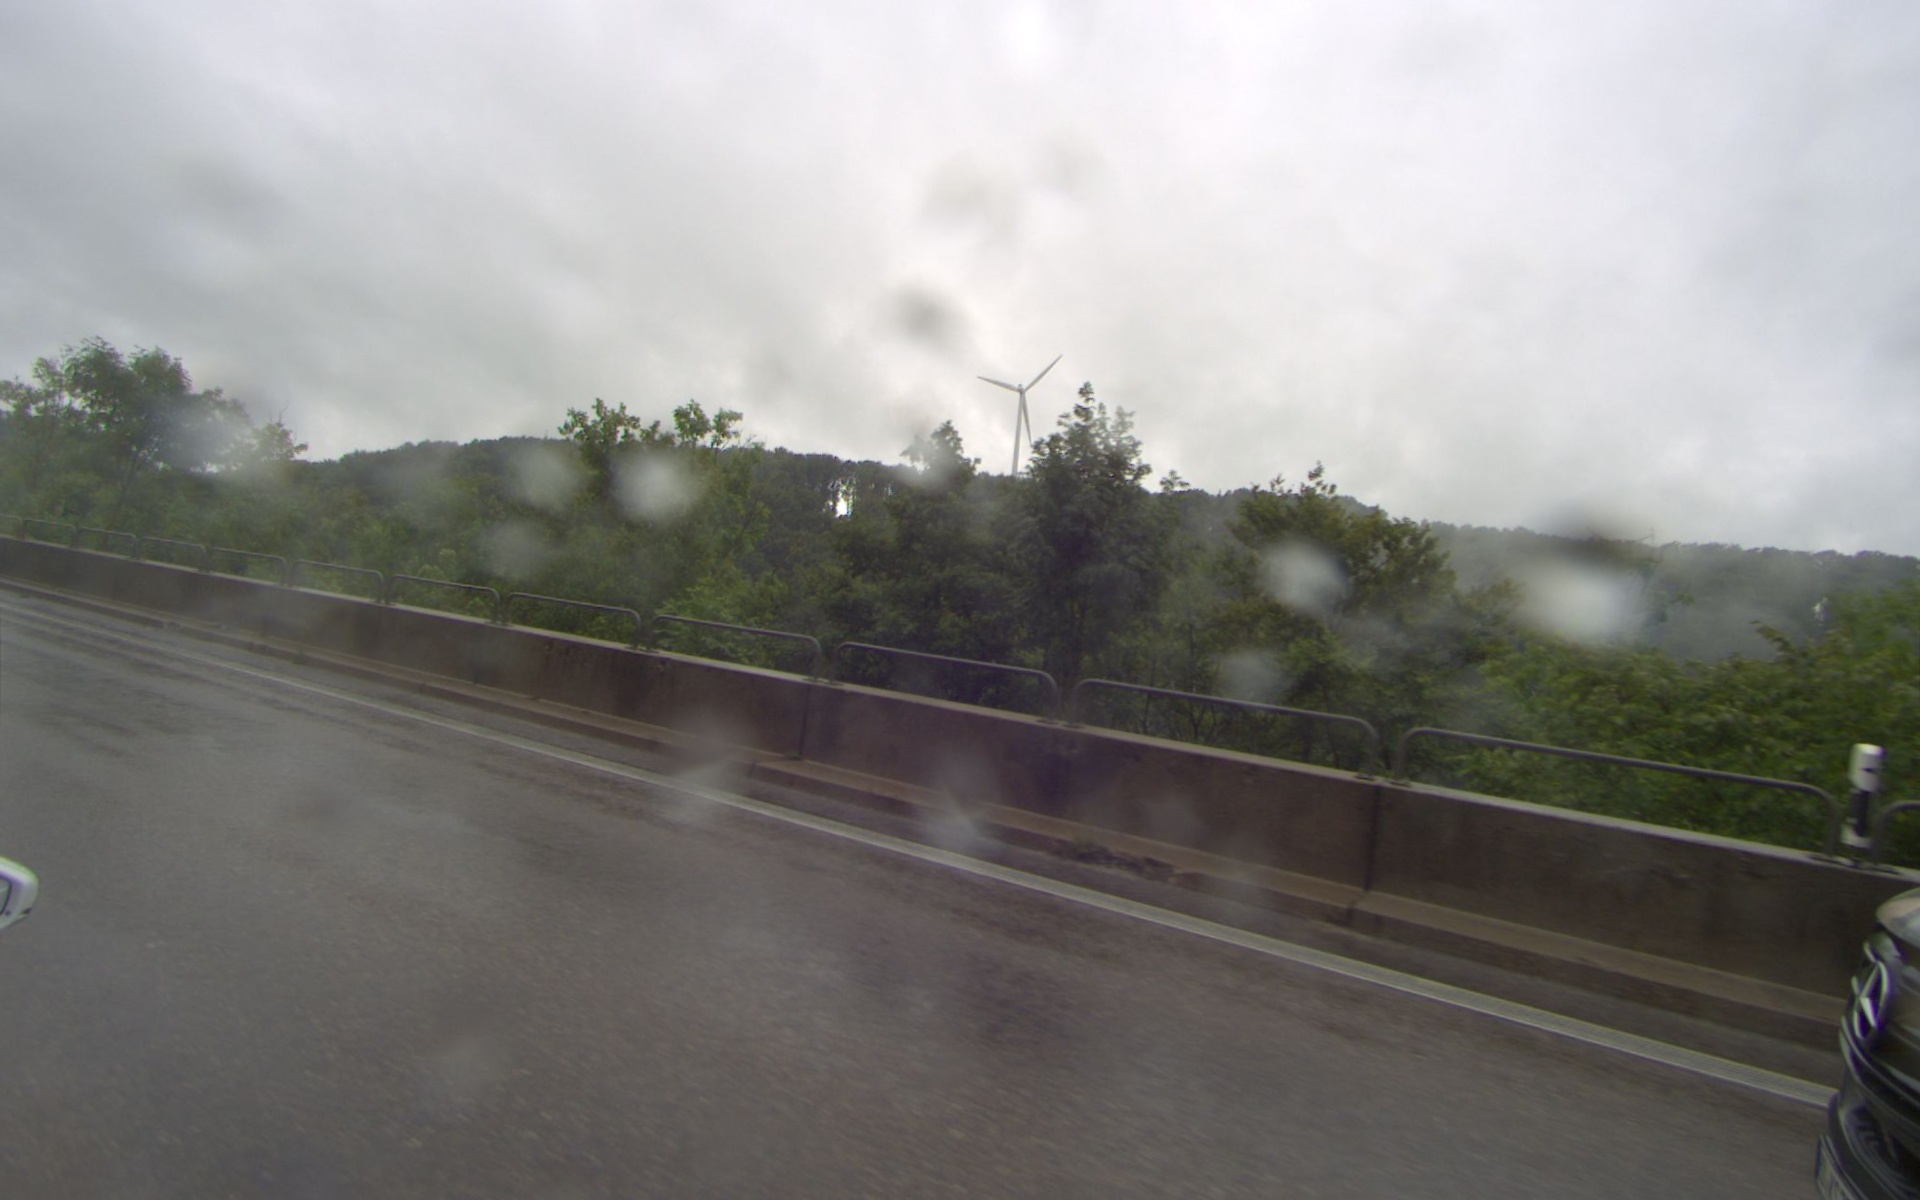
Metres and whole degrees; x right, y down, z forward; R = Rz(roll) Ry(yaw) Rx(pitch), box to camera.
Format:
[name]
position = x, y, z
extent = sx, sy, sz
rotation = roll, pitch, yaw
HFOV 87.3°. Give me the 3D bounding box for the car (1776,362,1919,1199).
[car]
position = 5.151, 0.864, 0.752
extent = 6.593, 2.525, 1.996
rotation = 7, 0, 31
